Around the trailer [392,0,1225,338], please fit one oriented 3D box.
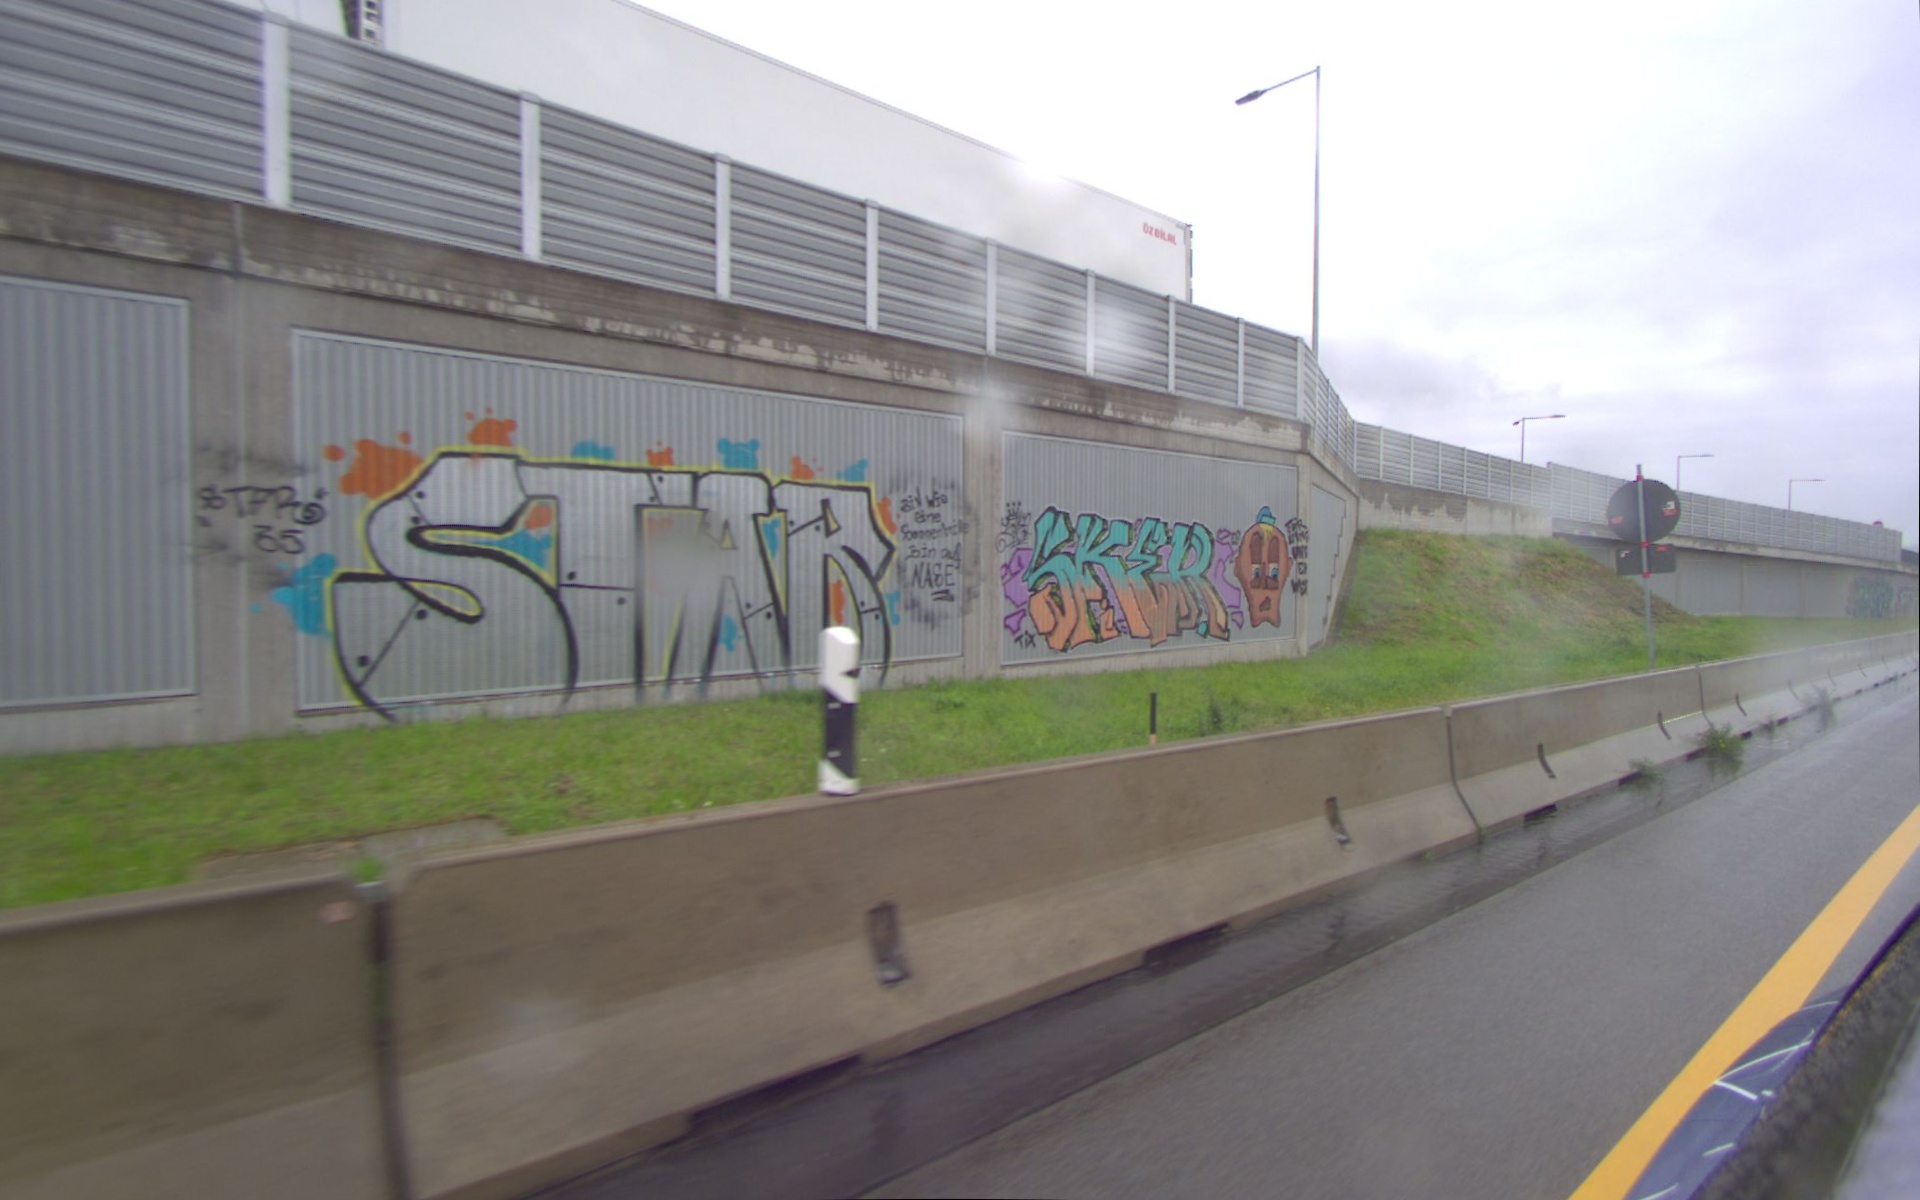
[{"bbox_3d":[-0.803,-6.191,15.378,13.528,2.132,1.997,-2,2,-41],"label":"trailer"}]
